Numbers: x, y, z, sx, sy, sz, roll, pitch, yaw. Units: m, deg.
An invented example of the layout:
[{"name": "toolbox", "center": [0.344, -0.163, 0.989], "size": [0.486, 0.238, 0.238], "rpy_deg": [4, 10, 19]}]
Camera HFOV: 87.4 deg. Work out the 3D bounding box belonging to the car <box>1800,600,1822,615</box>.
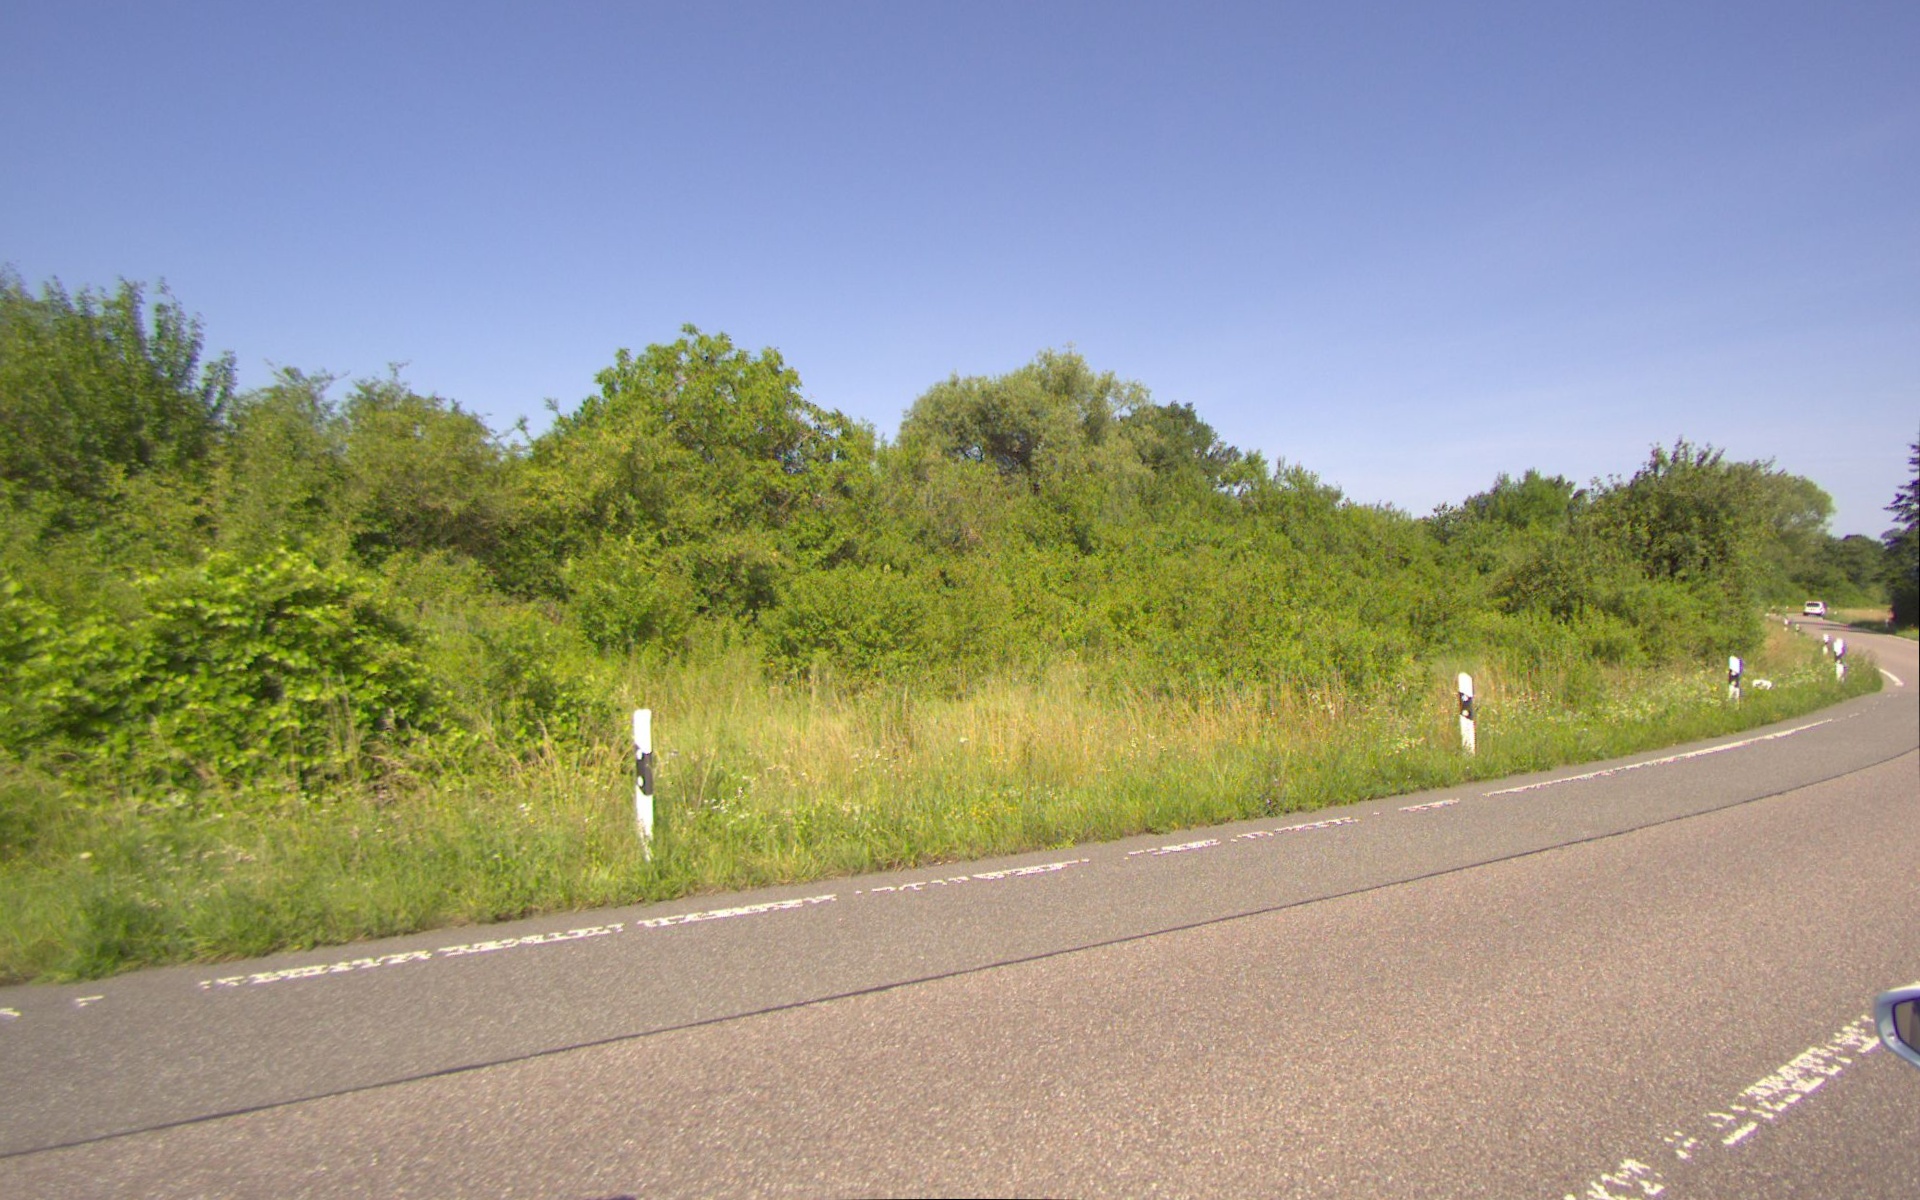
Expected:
[{"name": "car", "center": [112.935, 0.978, 133.266], "size": [1.940, 1.827, 4.137], "rpy_deg": [6, 5, 42]}]
